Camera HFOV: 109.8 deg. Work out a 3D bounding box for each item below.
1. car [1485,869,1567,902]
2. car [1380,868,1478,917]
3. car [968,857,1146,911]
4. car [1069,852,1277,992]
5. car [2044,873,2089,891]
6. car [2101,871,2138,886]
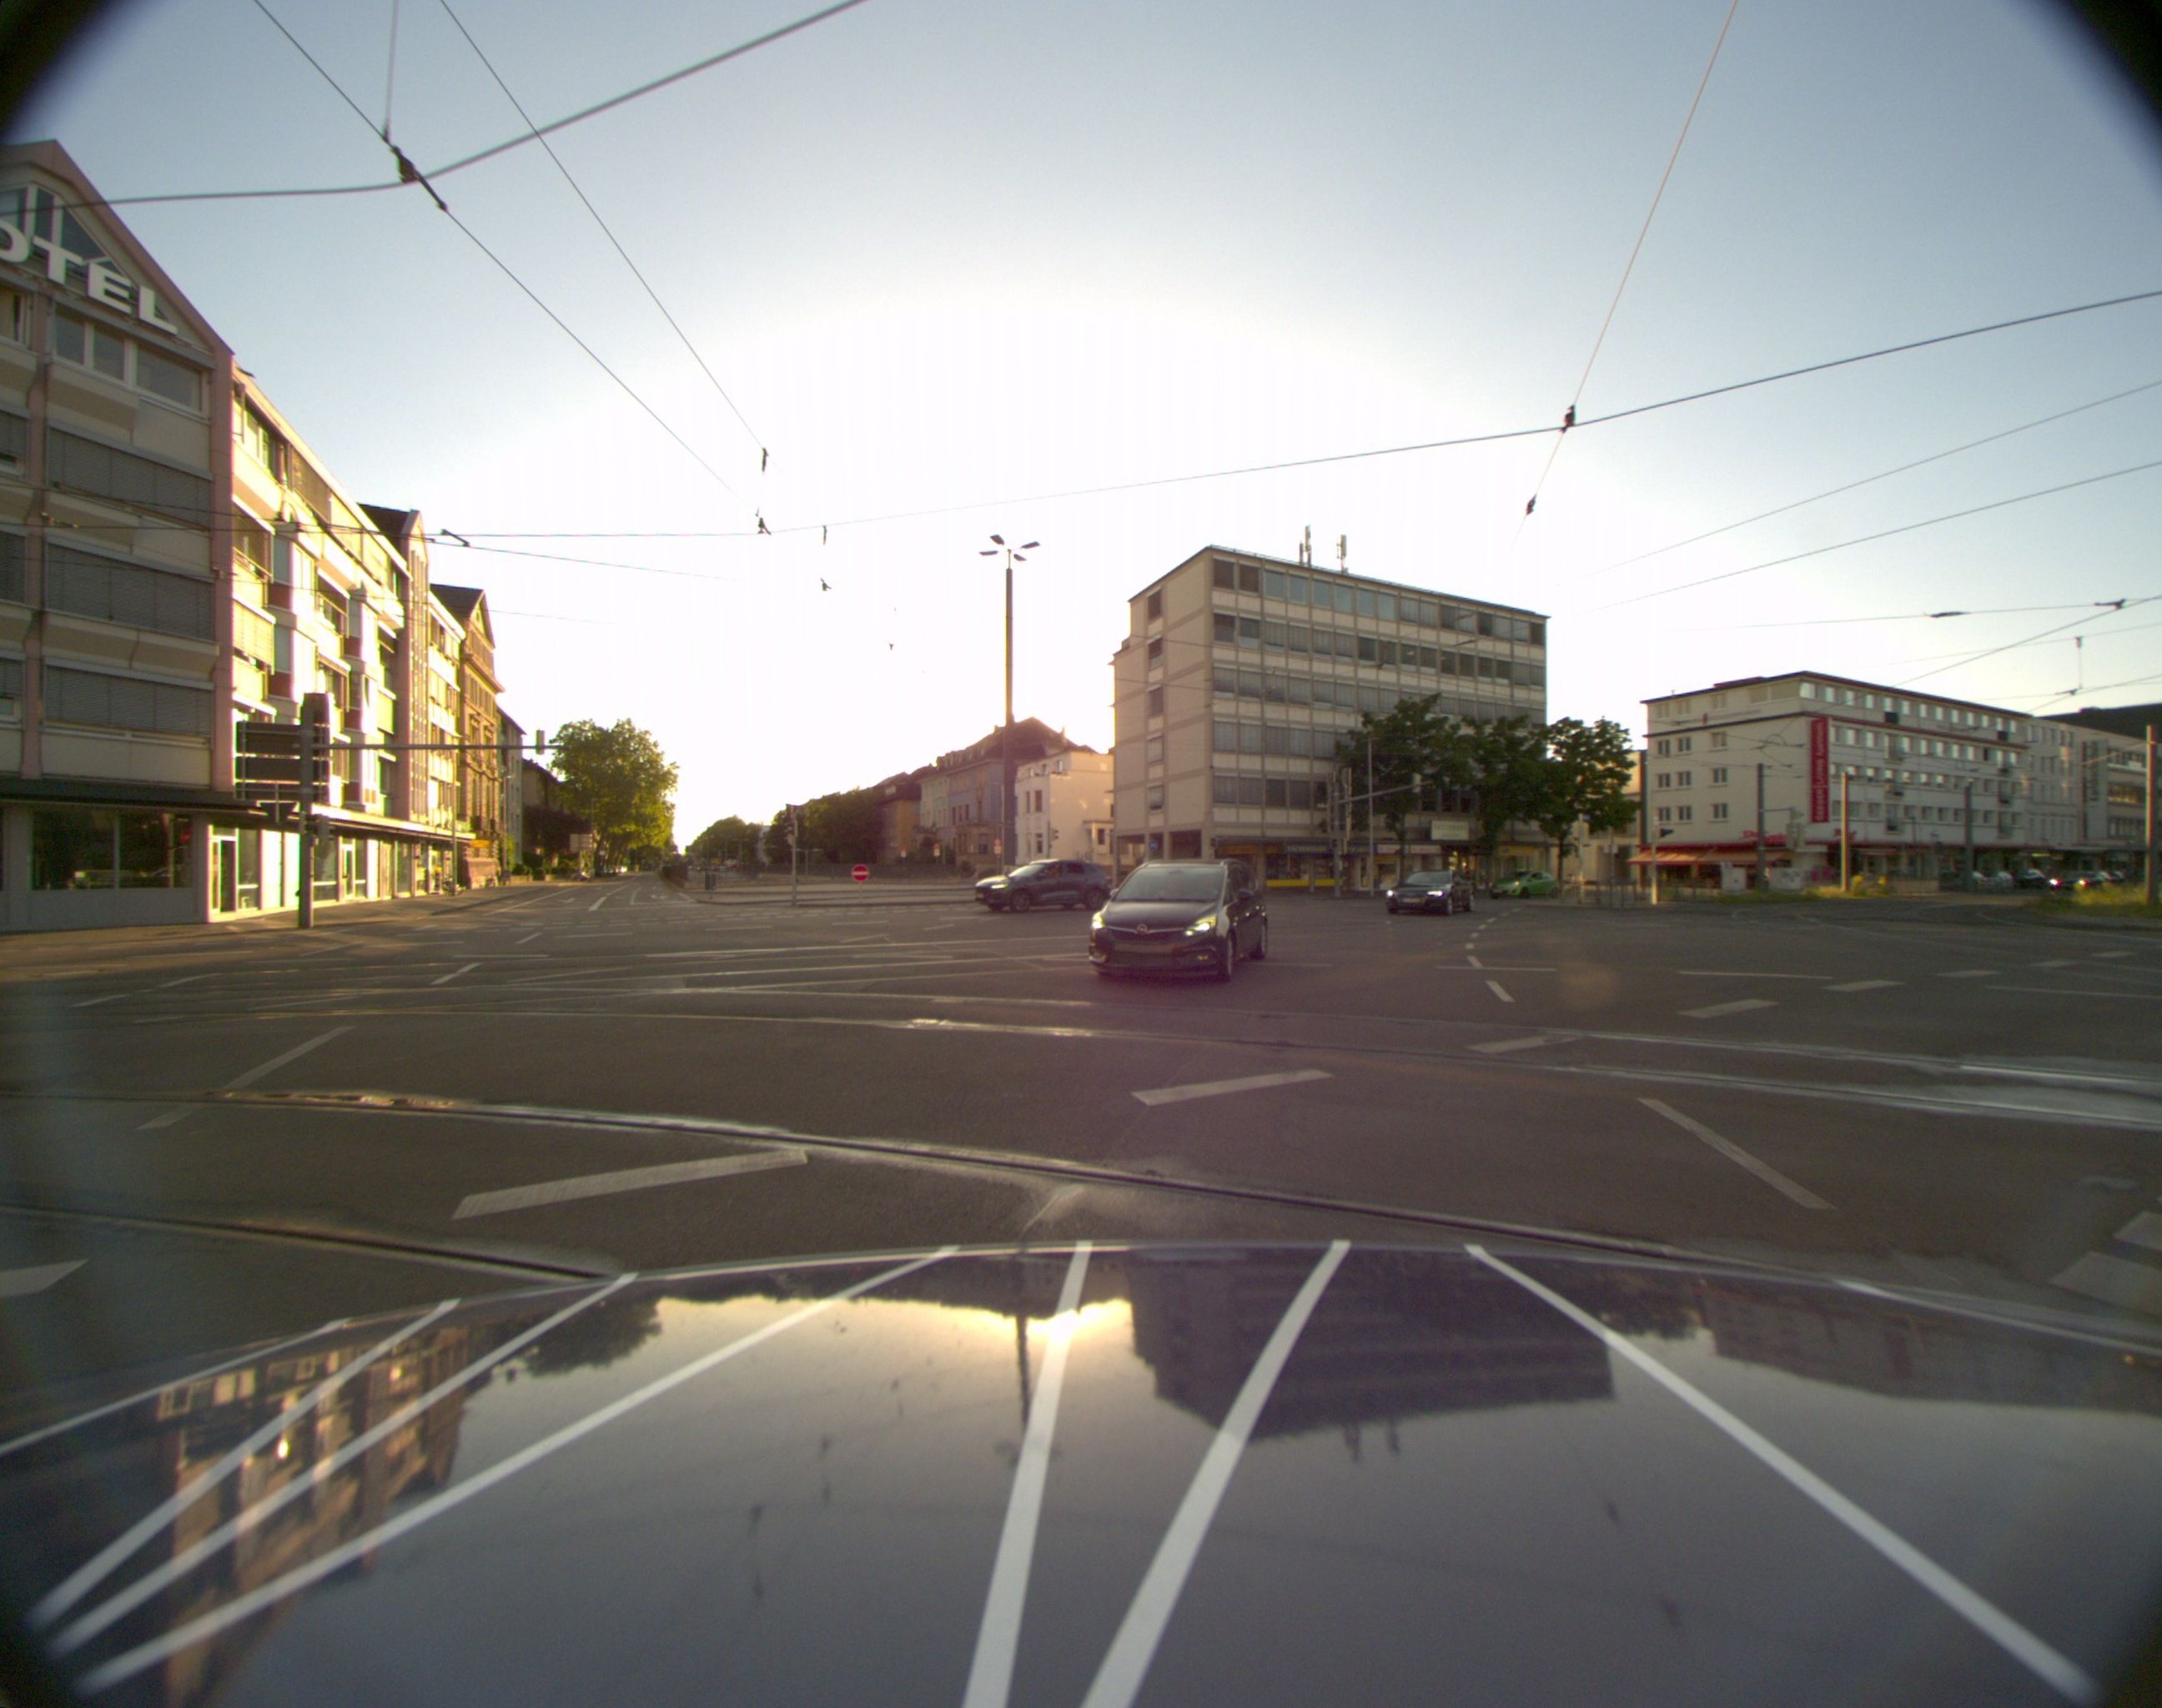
[{"bbox_3d":[22.546,1.546,38.453,4.030,1.556,1.745,0,-1,-28],"label":"car"},{"bbox_3d":[11.202,1.174,24.307,1.847,1.399,4.234,-1,-1,39],"label":"car"},{"bbox_3d":[-0.720,0.935,24.995,5.587,1.618,2.026,0,-1,-31],"label":"car"},{"bbox_3d":[1.572,0.809,11.097,1.797,1.609,4.395,0,-1,24],"label":"car"},{"bbox_3d":[75.728,2.148,58.378,3.429,1.268,1.563,0,-1,-28],"label":"car"},{"bbox_3d":[94.739,2.199,69.306,3.429,1.268,1.563,0,-1,-28],"label":"car"}]
